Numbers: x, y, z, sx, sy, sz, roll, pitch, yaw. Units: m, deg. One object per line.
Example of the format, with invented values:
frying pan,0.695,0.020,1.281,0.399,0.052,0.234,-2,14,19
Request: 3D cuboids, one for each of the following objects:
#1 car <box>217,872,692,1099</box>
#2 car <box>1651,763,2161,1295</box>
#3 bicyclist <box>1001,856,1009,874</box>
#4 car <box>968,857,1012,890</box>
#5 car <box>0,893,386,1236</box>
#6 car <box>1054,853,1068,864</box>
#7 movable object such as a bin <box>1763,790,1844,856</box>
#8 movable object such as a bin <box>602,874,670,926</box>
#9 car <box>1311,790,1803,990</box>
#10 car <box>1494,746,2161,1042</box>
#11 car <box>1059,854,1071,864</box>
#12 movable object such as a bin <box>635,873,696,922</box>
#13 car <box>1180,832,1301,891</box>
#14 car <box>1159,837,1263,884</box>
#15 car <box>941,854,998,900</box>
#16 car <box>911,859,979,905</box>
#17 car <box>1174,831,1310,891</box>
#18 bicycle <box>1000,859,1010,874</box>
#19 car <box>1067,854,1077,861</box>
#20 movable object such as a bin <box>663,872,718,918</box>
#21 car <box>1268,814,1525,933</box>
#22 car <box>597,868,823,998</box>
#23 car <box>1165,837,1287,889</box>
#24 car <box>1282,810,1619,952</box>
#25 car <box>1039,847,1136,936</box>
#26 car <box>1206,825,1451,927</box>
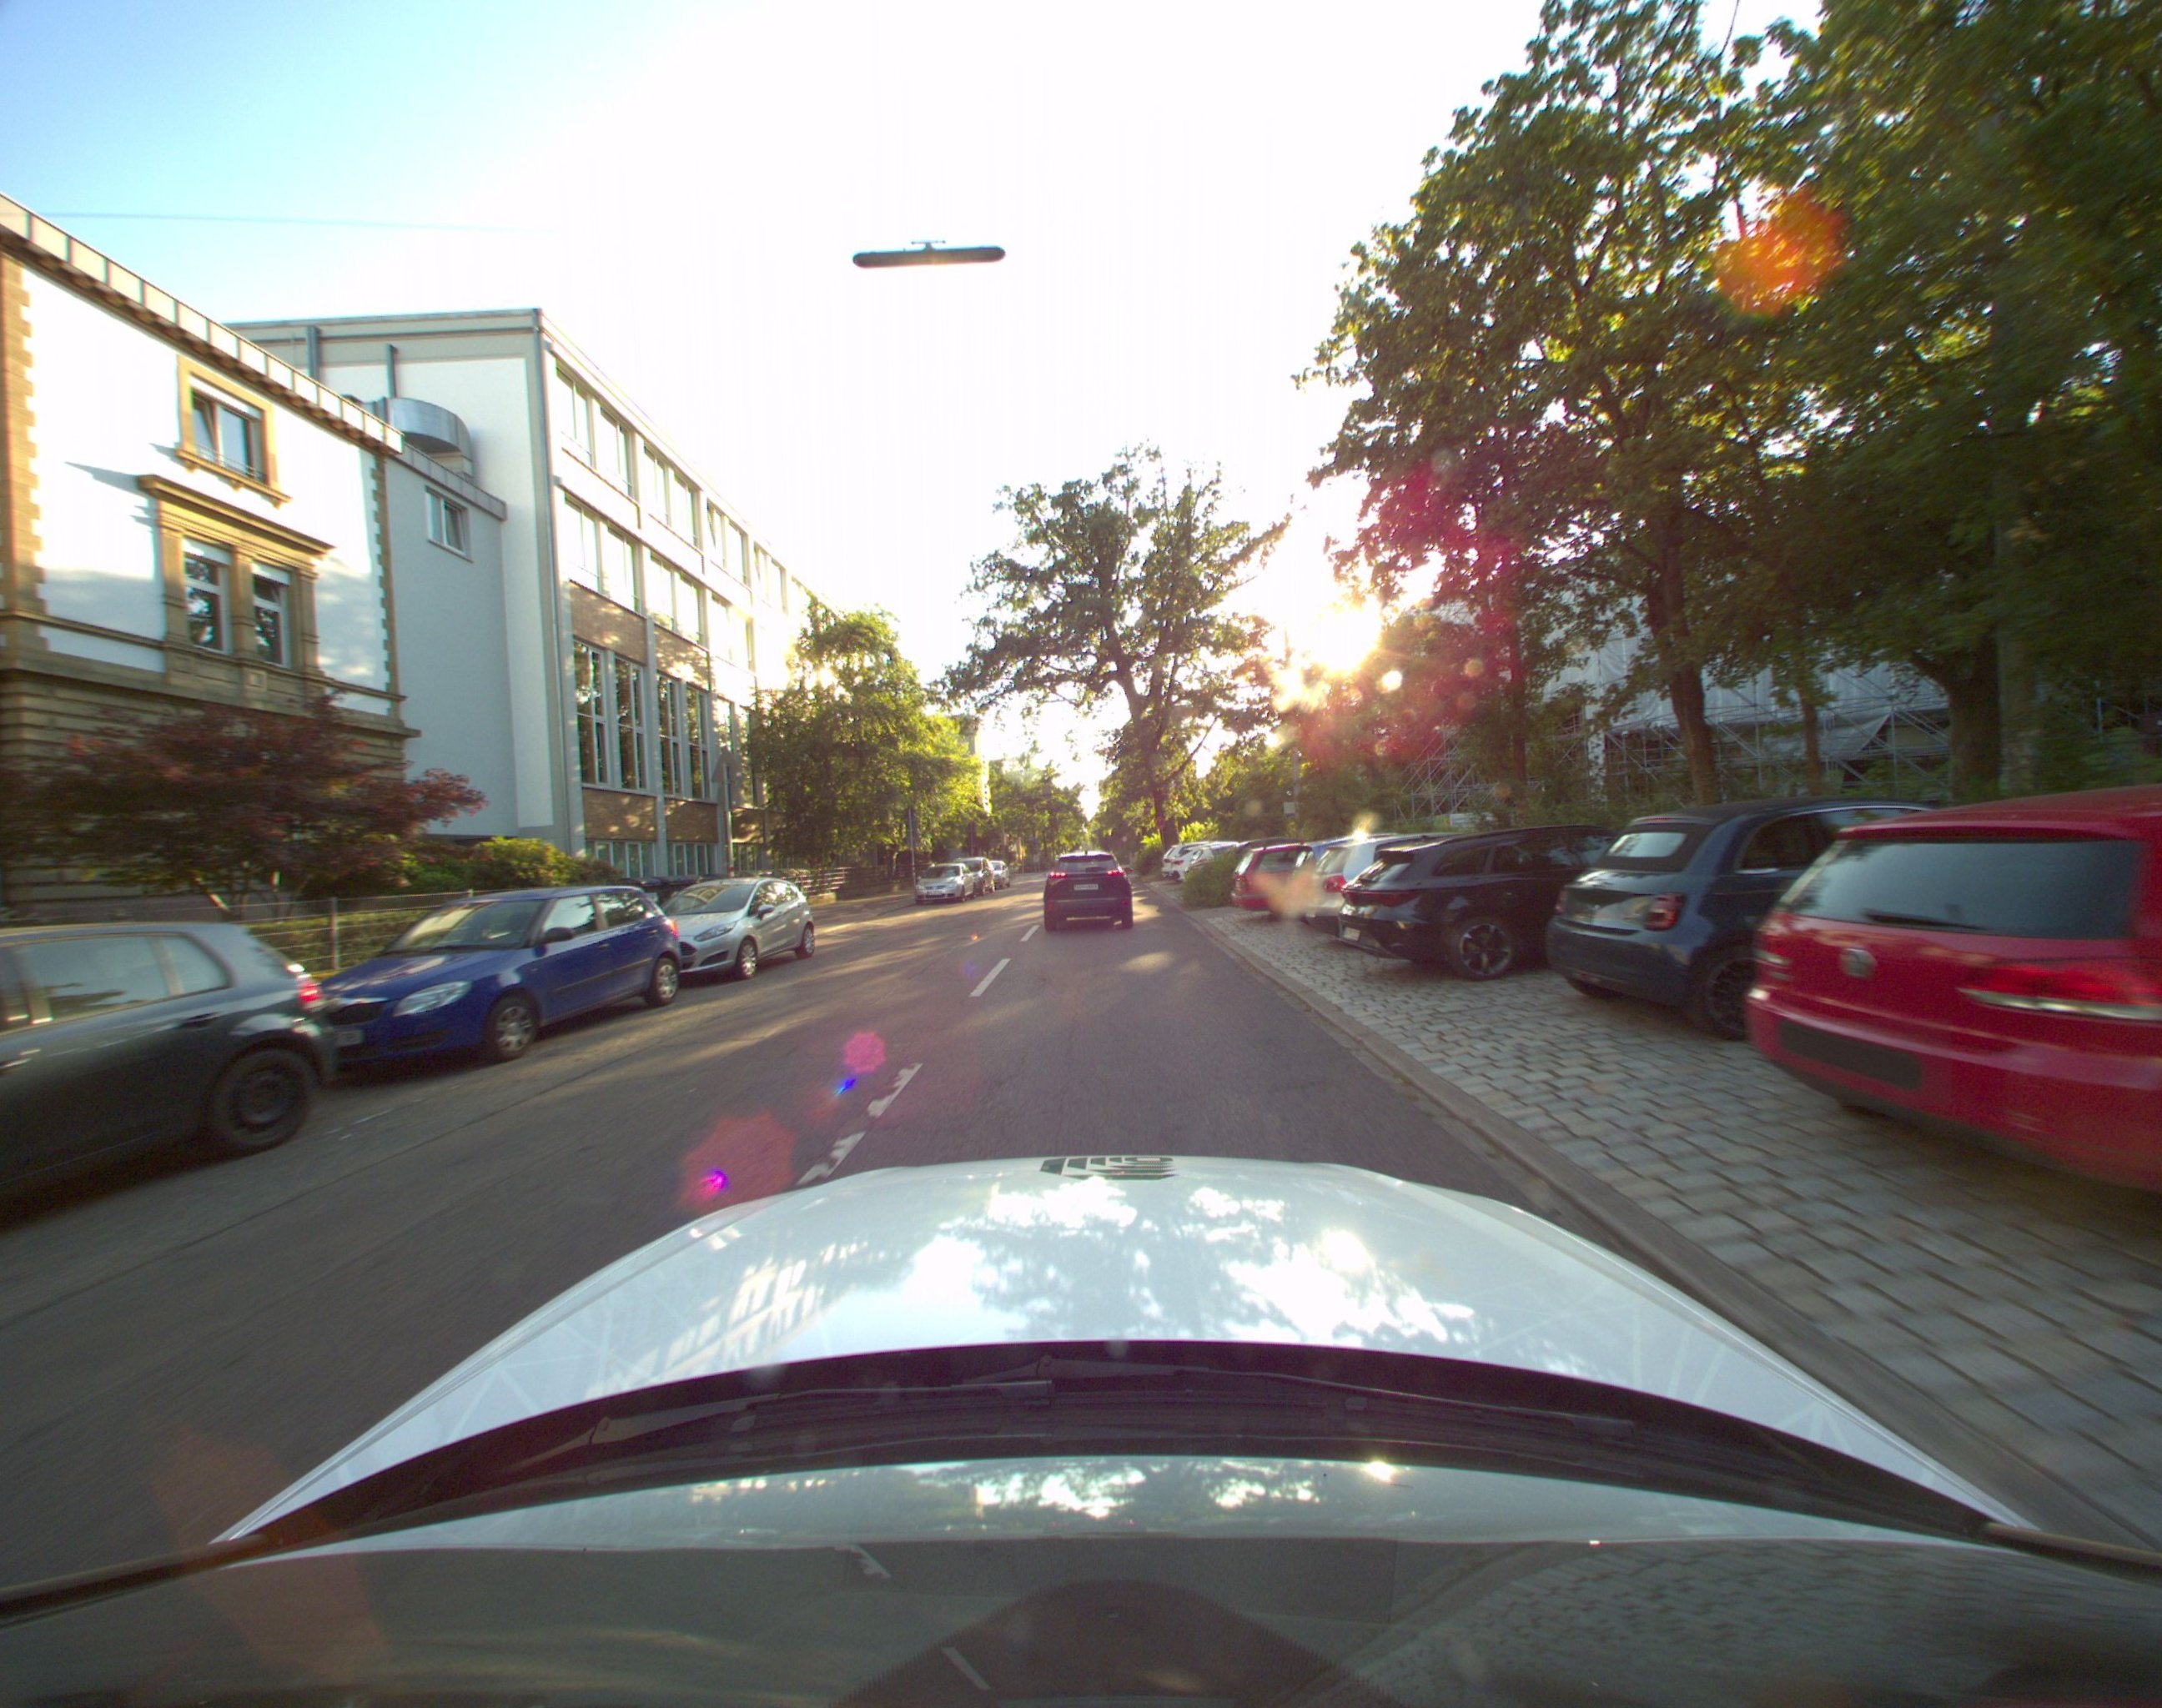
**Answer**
car,-5.792,1.071,8.237,1.592,1.507,3.790,-5,1,3
car,4.872,0.350,3.274,3.794,1.474,1.757,-7,-1,1
bicyclist,-6.973,1.035,74.834,0.674,1.603,0.705,-3,0,-3
car,-4.716,0.991,42.713,1.673,1.457,3.884,-5,1,2
car,-5.796,1.093,3.707,1.593,1.455,4.056,-5,1,1
car,-2.941,0.636,119.665,1.807,1.354,3.995,-4,0,-4
movable object such as a bin,16.959,-0.713,19.141,0.957,1.439,0.985,-4,0,4
movable object such as a bin,-13.680,1.402,25.107,1.094,1.430,1.521,-3,0,4
car,4.821,0.350,8.764,4.104,1.474,1.833,-6,0,2
car,5.511,0.240,6.093,3.794,1.474,1.832,-7,-1,1
car,-2.476,0.762,125.906,1.806,1.354,3.996,-4,0,-2
movable object such as a bin,-13.555,1.398,26.618,1.094,1.430,1.488,-3,0,4
car,5.276,0.256,27.257,3.577,1.566,1.818,-6,-1,0
car,5.432,0.275,34.476,4.150,1.710,1.870,-3,0,5
car,-4.885,0.969,36.320,1.673,1.708,4.342,-5,1,2
car,-5.068,0.994,30.827,1.664,1.493,4.063,-3,0,2
car,4.847,0.199,24.847,3.734,1.594,1.696,-3,0,-1
bicycle,-6.970,1.149,74.803,0.685,1.249,2.190,-3,0,-3
car,-1.743,0.690,159.750,1.806,1.354,3.975,-4,0,-2
movable object such as a bin,-13.444,1.394,28.068,1.094,1.430,1.374,-3,0,4
car,5.401,0.314,14.269,3.704,1.555,1.740,-6,0,-3
car,-5.565,1.091,12.782,1.595,1.493,3.774,-5,1,2
car,5.231,0.319,29.701,4.107,1.667,1.723,-3,0,1
car,5.107,0.363,11.706,3.909,1.454,1.833,-6,0,2
car,0.131,0.704,17.150,1.762,1.568,3.380,-3,1,0
car,4.860,0.402,16.418,4.322,1.475,1.743,-6,1,2
